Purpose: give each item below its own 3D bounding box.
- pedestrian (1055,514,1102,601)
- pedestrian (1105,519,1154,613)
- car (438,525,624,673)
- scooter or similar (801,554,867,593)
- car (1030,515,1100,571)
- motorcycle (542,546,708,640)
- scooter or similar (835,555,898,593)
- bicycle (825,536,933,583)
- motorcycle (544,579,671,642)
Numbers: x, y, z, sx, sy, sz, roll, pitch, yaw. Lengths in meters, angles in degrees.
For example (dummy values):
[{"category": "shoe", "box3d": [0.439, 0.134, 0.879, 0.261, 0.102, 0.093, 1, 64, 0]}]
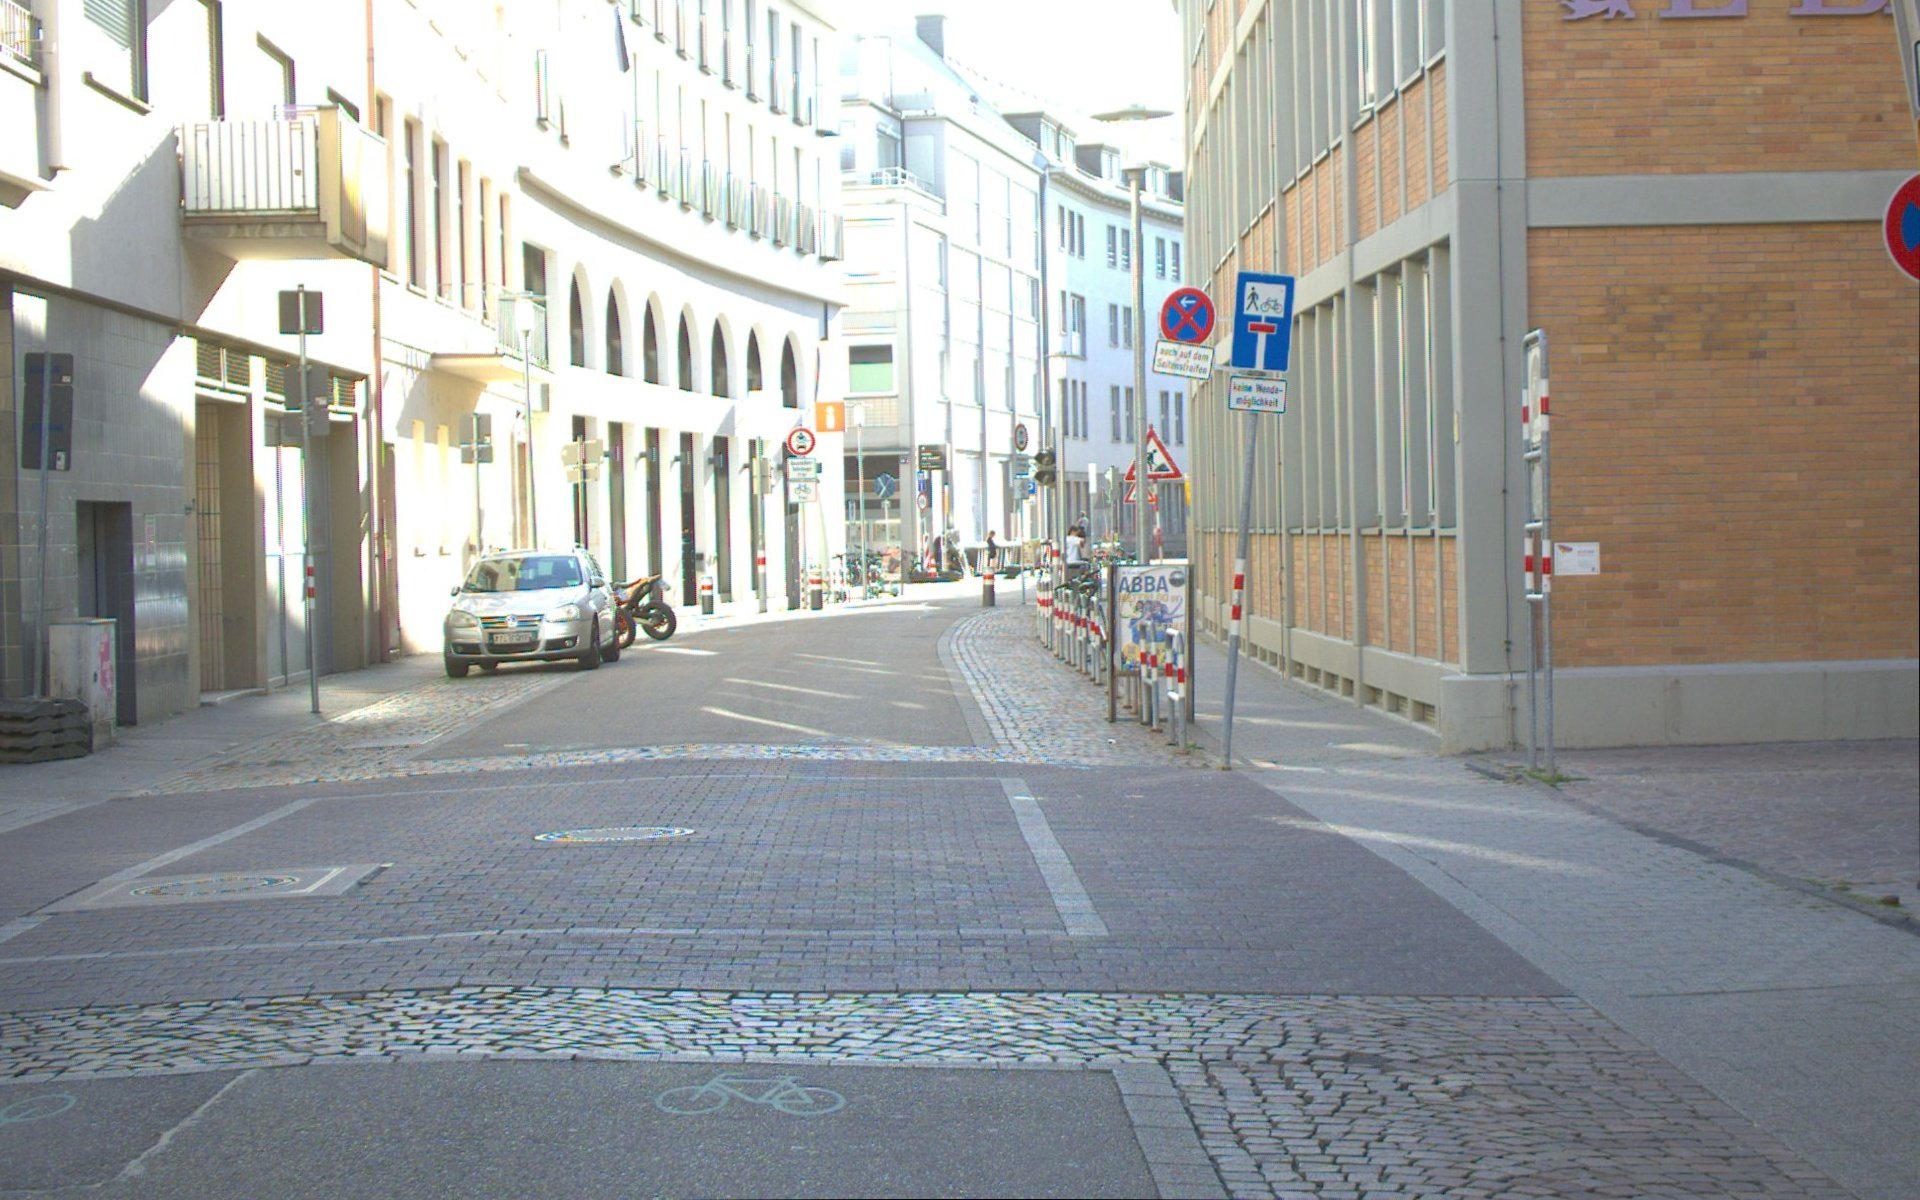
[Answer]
[{"category": "pedestrian", "box3d": [2.558, -0.908, 74.279, 0.659, 1.862, 0.786, 1, 0, -31]}, {"category": "pedestrian", "box3d": [3.399, -0.680, 68.918, 0.659, 1.862, 0.761, 1, 0, -31]}, {"category": "car", "box3d": [-5.054, -0.051, 40.879, 1.736, 1.600, 3.533, -2, 1, 0]}, {"category": "scooter or similar", "box3d": [-3.062, -0.652, 83.722, 0.526, 0.925, 2.224, 1, 1, 29]}, {"category": "car", "box3d": [3.161, -1.724, 103.196, 1.737, 1.600, 3.532, -2, 1, 7]}, {"category": "motorcycle", "box3d": [-5.056, -0.115, 52.015, 2.390, 1.312, 0.862, -2, 1, -1]}, {"category": "scooter or similar", "box3d": [-2.358, -0.661, 86.824, 0.526, 0.925, 2.224, 1, 1, 29]}, {"category": "bicycle", "box3d": [-2.391, -1.195, 101.424, 3.090, 1.349, 0.701, 1, 0, 12]}, {"category": "motorcycle", "box3d": [-4.933, 0.142, 48.195, 1.691, 0.856, 0.594, 1, 0, 4]}]
